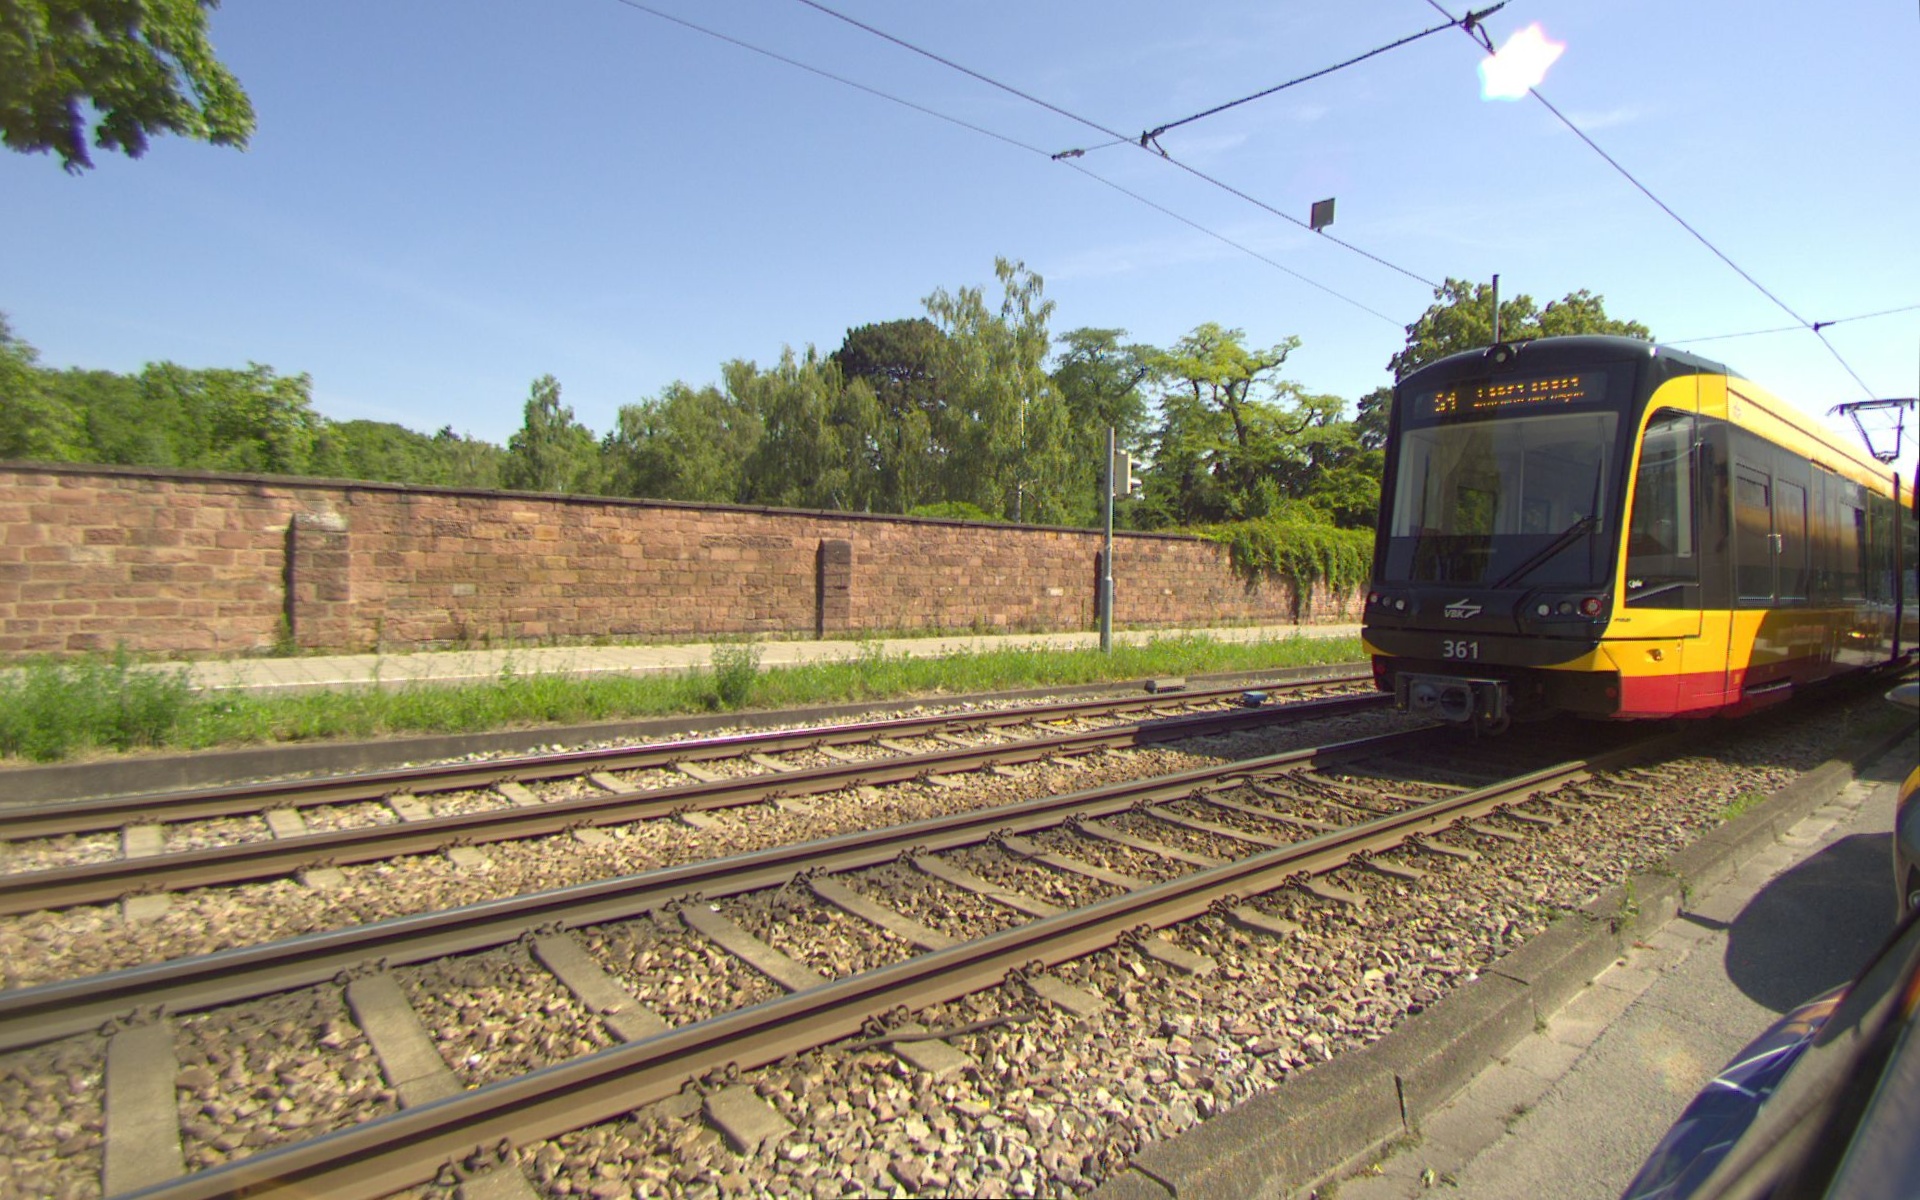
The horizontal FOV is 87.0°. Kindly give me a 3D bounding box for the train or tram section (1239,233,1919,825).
[{"bbox_3d":[8.858,-0.534,12.285,15.038,3.698,2.674,-1,0,-41],"label":"train or tram section"}]

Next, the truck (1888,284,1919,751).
[{"bbox_3d":[14.708,-0.736,12.399,14.037,4.120,3.388,0,1,-41],"label":"truck"}]

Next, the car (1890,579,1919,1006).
[{"bbox_3d":[5.296,0.664,4.183,3.960,1.465,1.718,0,1,-41],"label":"car"}]

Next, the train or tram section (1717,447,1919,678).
[{"bbox_3d":[21.492,-0.706,23.365,18.630,3.698,2.677,-1,0,-41],"label":"train or tram section"}]
